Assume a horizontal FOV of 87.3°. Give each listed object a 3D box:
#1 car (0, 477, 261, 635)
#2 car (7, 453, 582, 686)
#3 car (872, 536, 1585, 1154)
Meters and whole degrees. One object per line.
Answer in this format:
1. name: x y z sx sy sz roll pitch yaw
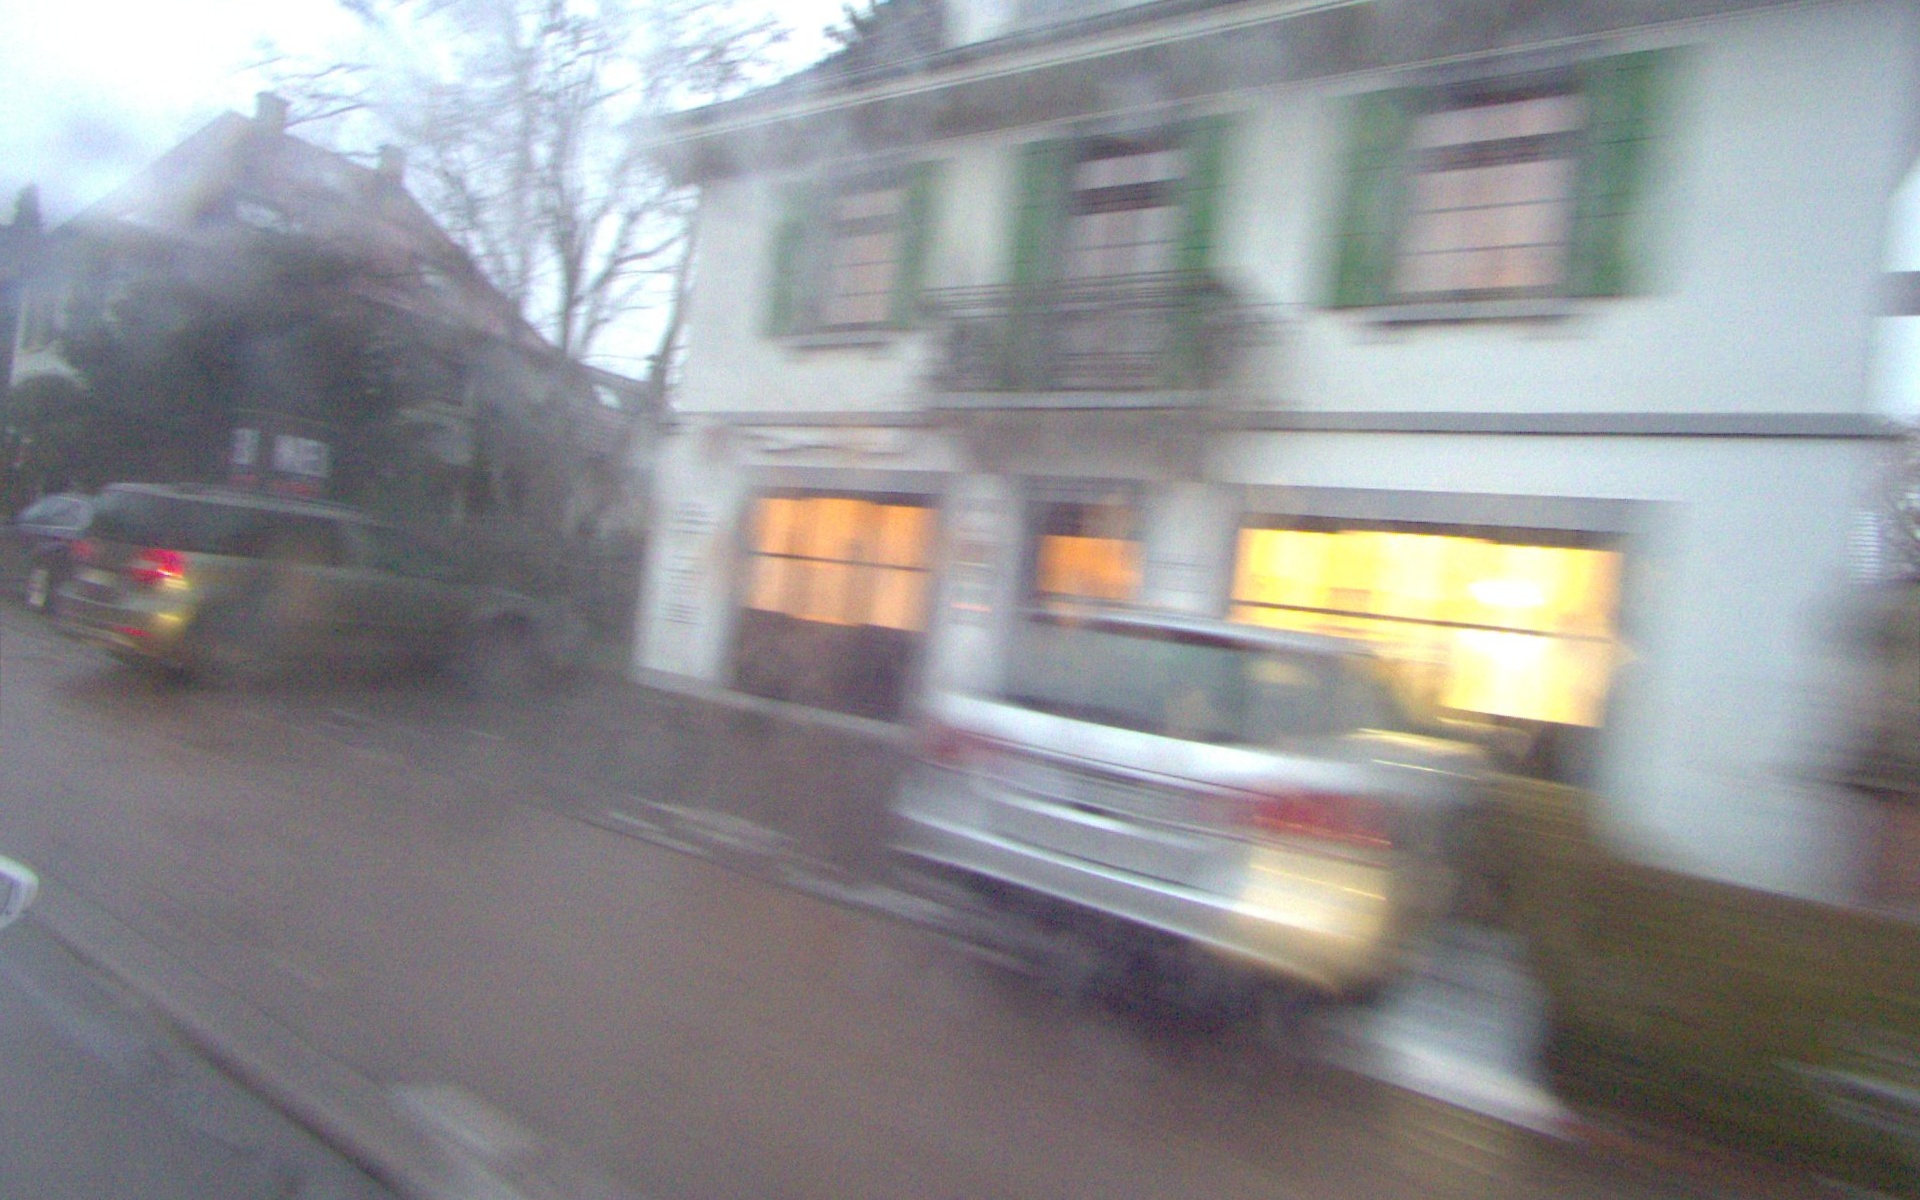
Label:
1. car: -11.364 -0.646 13.198 4.678 1.573 1.895 7 0 33
2. car: -6.096 -0.156 9.743 1.967 1.726 4.107 6 -1 32
3. car: 1.882 0.838 5.305 1.878 1.650 4.733 7 0 37
